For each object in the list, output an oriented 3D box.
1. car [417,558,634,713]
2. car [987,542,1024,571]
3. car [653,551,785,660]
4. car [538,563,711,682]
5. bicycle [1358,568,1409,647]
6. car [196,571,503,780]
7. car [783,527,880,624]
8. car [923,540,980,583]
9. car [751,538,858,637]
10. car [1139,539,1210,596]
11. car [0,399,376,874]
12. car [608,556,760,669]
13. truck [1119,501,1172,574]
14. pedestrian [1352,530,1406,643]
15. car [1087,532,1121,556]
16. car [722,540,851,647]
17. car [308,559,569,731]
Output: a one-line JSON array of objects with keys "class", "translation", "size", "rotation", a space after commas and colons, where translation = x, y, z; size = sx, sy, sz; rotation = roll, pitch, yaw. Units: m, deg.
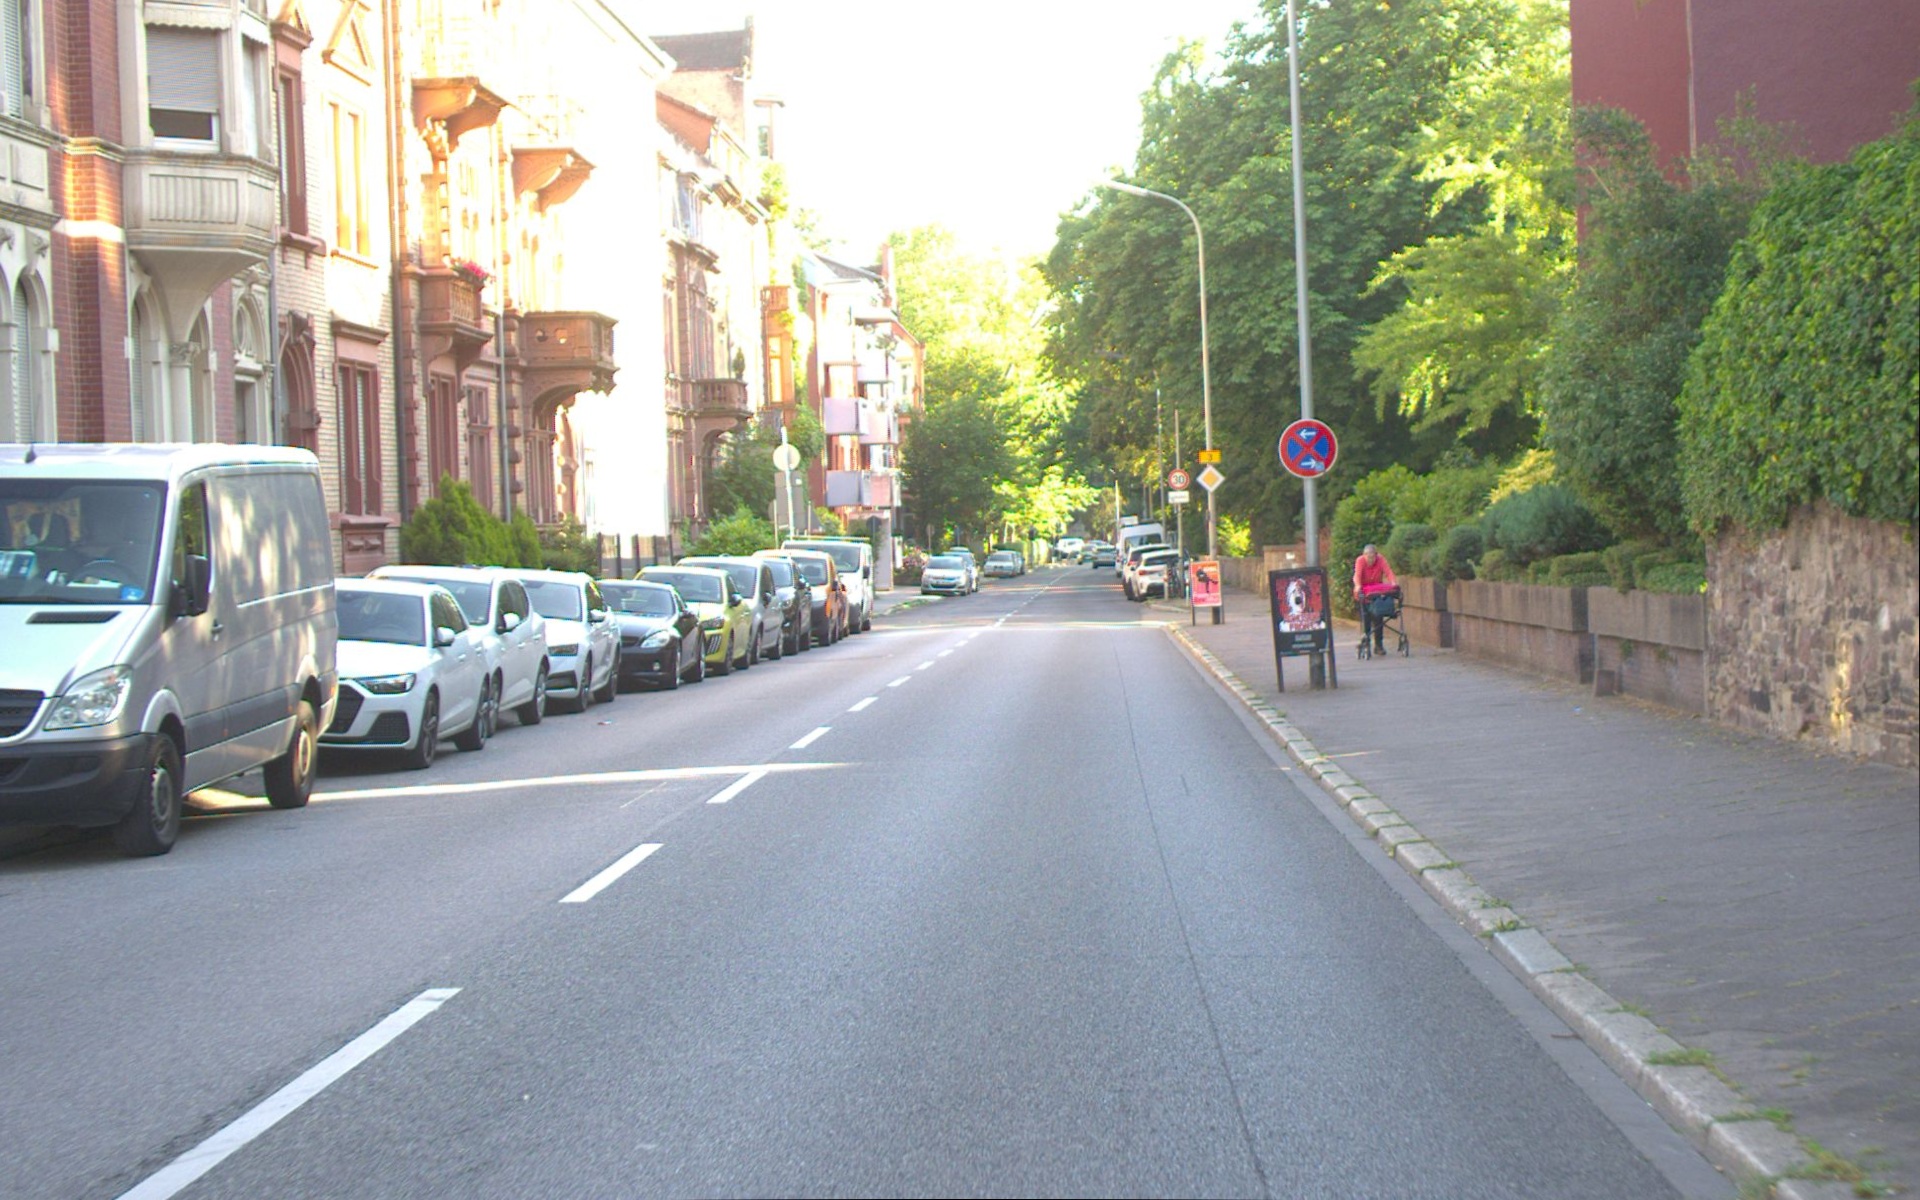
[{"class": "car", "translation": [-4.690, 0.340, 37.698], "size": [1.702, 1.531, 4.549], "rotation": [0, 1, 1]}, {"class": "car", "translation": [2.671, -2.565, 201.666], "size": [1.994, 1.486, 4.470], "rotation": [-2, 2, 2]}, {"class": "car", "translation": [-3.679, 0.056, 52.987], "size": [1.702, 1.578, 3.635], "rotation": [0, 1, 1]}, {"class": "car", "translation": [-4.138, 0.250, 42.913], "size": [1.702, 1.362, 3.860], "rotation": [0, 1, 1]}, {"class": "bicycle", "translation": [5.284, 0.094, 42.893], "size": [0.566, 0.967, 0.492], "rotation": [-1, 2, -1]}, {"class": "car", "translation": [-4.817, 0.553, 27.597], "size": [1.702, 1.497, 3.823], "rotation": [0, 1, 1]}, {"class": "car", "translation": [-2.719, -0.560, 73.594], "size": [1.793, 2.003, 4.698], "rotation": [0, 1, 1]}, {"class": "car", "translation": [-0.322, -1.515, 134.856], "size": [1.994, 1.486, 4.470], "rotation": [-2, 2, 2]}, {"class": "car", "translation": [-2.824, -0.258, 63.205], "size": [1.702, 1.732, 3.857], "rotation": [0, 1, 1]}, {"class": "car", "translation": [6.369, -0.988, 102.114], "size": [1.994, 1.512, 4.000], "rotation": [-2, 2, 4]}, {"class": "car", "translation": [-5.226, 0.130, 20.837], "size": [2.068, 2.452, 6.014], "rotation": [0, 1, 3]}, {"class": "car", "translation": [-3.803, 0.175, 47.980], "size": [1.702, 1.498, 4.072], "rotation": [0, 0, 1]}, {"class": "truck", "translation": [7.719, -2.626, 143.346], "size": [1.993, 2.887, 4.470], "rotation": [-2, 2, 2]}, {"class": "pedestrian", "translation": [5.291, -0.175, 43.465], "size": [0.597, 1.398, 0.668], "rotation": [-1, 2, 1]}, {"class": "car", "translation": [9.634, -3.778, 230.859], "size": [1.993, 1.486, 4.471], "rotation": [-2, 2, -1]}, {"class": "car", "translation": [-2.883, -0.140, 57.999], "size": [1.702, 1.702, 4.440], "rotation": [0, 1, 3]}, {"class": "car", "translation": [-4.921, 0.380, 32.930], "size": [1.702, 1.497, 4.021], "rotation": [0, 1, 3]}]
